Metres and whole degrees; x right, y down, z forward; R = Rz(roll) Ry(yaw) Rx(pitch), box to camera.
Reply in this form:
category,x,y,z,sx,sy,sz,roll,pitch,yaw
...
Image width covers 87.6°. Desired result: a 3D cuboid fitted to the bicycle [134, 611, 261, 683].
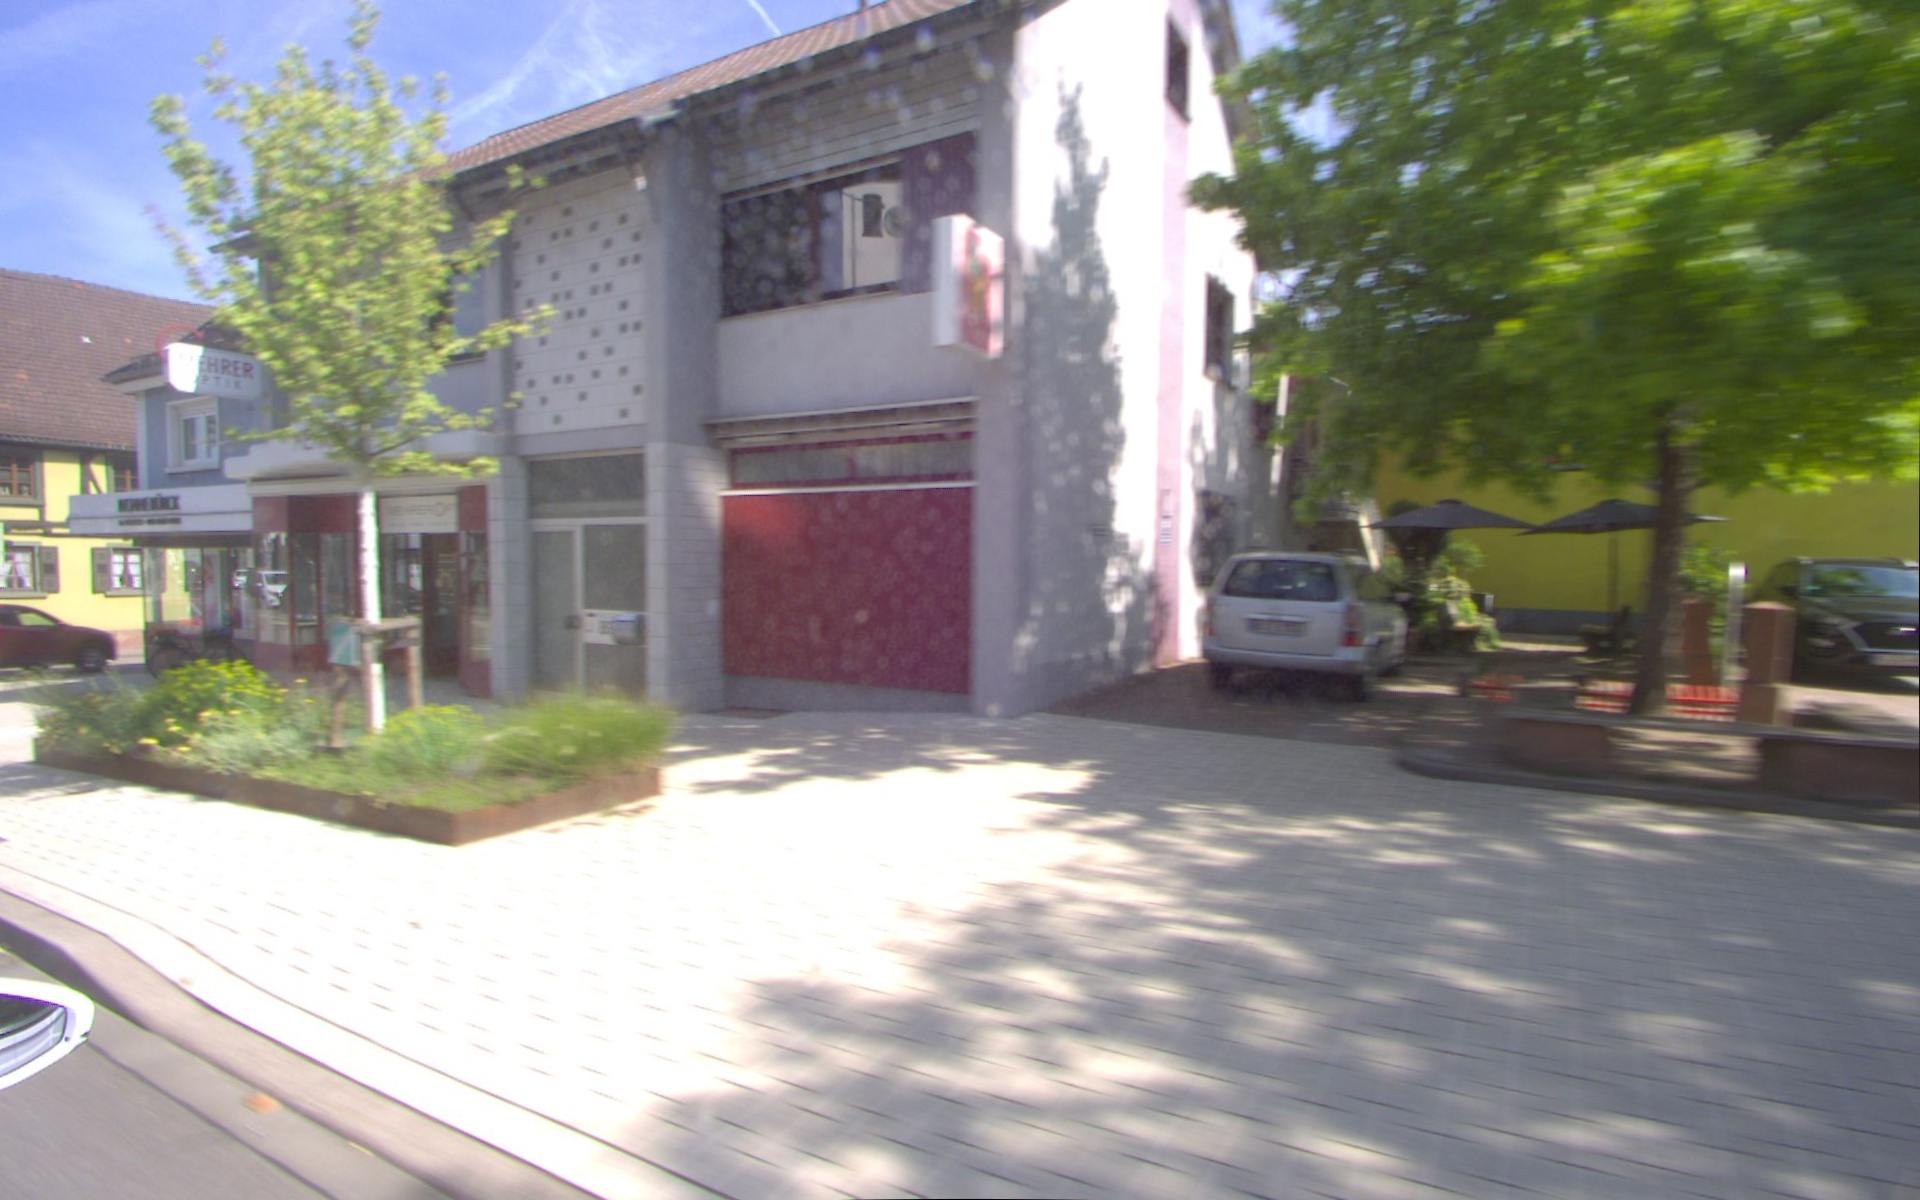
category,x,y,z,sx,sy,sz,roll,pitch,yaw
bicycle,-14.383,0.856,18.942,0.541,1.251,1.799,1,2,32

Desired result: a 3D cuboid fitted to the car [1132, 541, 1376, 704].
category,x,y,z,sx,sy,sz,roll,pitch,yaw
car,3.494,0.207,11.465,1.700,1.530,3.689,0,0,33

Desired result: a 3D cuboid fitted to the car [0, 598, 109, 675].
category,x,y,z,sx,sy,sz,roll,pitch,yaw
car,-21.932,0.797,22.708,1.775,1.685,3.811,0,0,7

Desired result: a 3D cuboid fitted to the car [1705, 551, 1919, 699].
category,x,y,z,sx,sy,sz,roll,pitch,yaw
car,11.931,0.236,14.064,1.883,1.730,3.978,3,3,31
